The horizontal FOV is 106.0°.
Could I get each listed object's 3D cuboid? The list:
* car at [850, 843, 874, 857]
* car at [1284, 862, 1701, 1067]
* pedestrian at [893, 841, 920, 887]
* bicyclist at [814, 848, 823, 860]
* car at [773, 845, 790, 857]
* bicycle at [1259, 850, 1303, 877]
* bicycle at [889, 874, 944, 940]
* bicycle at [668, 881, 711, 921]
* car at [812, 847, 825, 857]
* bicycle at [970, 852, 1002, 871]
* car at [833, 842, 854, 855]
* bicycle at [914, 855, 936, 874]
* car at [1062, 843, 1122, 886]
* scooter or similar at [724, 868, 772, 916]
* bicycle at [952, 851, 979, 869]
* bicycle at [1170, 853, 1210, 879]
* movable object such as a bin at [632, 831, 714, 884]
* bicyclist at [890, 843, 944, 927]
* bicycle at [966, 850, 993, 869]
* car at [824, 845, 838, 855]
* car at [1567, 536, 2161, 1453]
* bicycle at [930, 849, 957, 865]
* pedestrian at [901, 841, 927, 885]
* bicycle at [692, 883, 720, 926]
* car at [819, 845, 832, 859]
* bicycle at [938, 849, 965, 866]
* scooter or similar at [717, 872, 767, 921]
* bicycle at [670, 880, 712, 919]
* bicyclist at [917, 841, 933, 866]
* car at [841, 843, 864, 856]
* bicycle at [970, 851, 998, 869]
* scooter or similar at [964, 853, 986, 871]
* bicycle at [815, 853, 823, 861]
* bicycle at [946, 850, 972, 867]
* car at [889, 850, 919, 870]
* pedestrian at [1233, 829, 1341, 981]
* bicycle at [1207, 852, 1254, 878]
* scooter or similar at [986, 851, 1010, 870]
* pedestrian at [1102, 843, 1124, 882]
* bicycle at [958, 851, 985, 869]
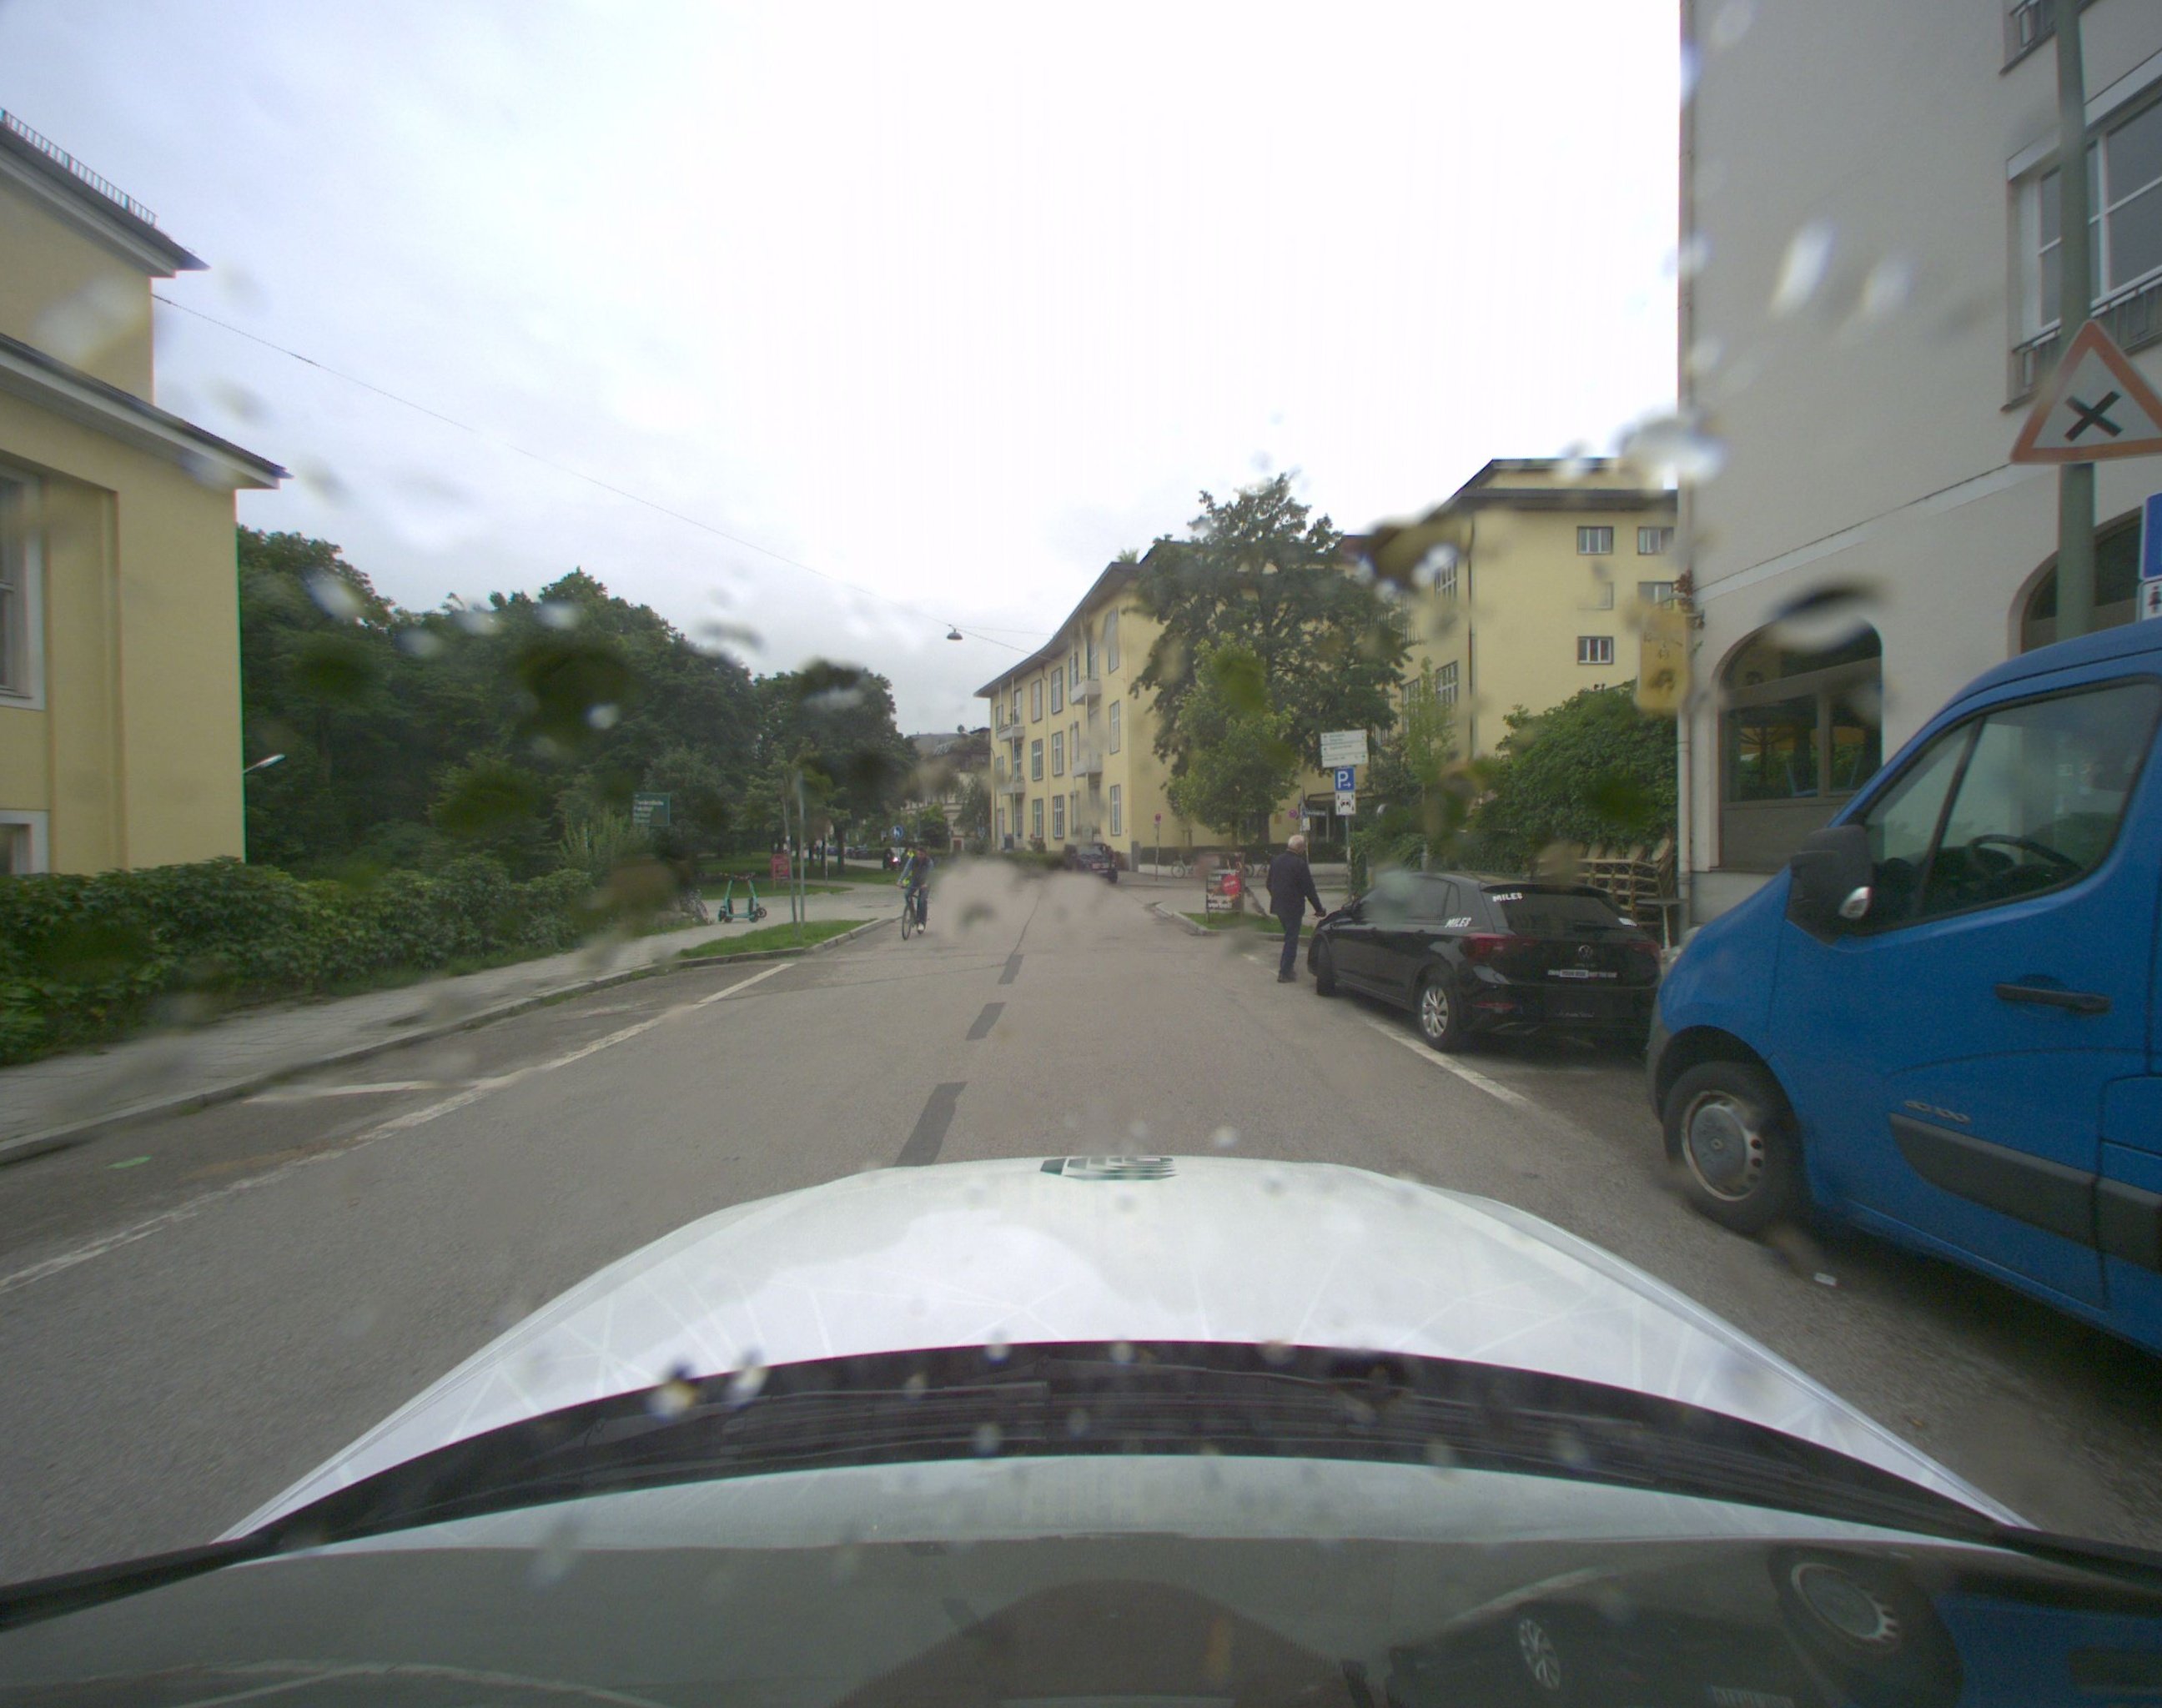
[{"bbox_3d":[-27.005,-0.449,100.497,2.005,1.606,3.964,-1,0,-28],"label":"car"},{"bbox_3d":[3.556,0.834,8.077,1.674,1.389,4.299,3,0,-4],"label":"car"},{"bbox_3d":[-7.899,0.448,36.919,0.927,2.013,0.957,-1,0,3],"label":"pedestrian"},{"bbox_3d":[-31.005,-0.019,96.153,0.799,1.470,0.886,-1,1,-26],"label":"bicyclist"},{"bbox_3d":[-44.653,-0.445,121.406,2.004,1.691,3.966,-2,1,-26],"label":"car"},{"bbox_3d":[9.260,0.441,37.811,1.914,1.201,0.596,-1,1,2],"label":"bicycle"},{"bbox_3d":[-3.219,1.004,16.095,0.668,1.158,2.003,-1,0,0],"label":"bicycle"},{"bbox_3d":[-10.159,1.208,21.114,1.563,0.990,0.303,-1,0,37],"label":"bicycle"},{"bbox_3d":[-46.179,-0.321,143.315,1.999,1.606,3.975,-1,0,-18],"label":"car"},{"bbox_3d":[-6.730,0.503,57.584,2.167,1.305,0.726,-1,1,-39],"label":"bicycle"},{"bbox_3d":[-32.177,-0.734,110.423,2.005,1.606,3.964,-1,0,-28],"label":"car"},{"bbox_3d":[-10.021,0.677,52.377,0.747,1.215,2.124,-2,0,-29],"label":"bicycle"},{"bbox_3d":[0.474,0.437,39.166,1.765,1.874,4.358,3,0,-14],"label":"car"},{"bbox_3d":[-8.626,0.970,21.130,0.341,1.188,1.126,0,1,37],"label":"scooter or similar"},{"bbox_3d":[-8.788,0.446,62.138,0.725,1.305,2.170,-1,1,34],"label":"bicycle"},{"bbox_3d":[5.282,0.569,39.531,1.904,1.201,0.599,0,1,44],"label":"bicycle"},{"bbox_3d":[-25.485,0.179,50.978,1.974,3.213,4.026,-2,0,33],"label":"movable object such as a bin"},{"bbox_3d":[-3.238,0.592,16.172,0.860,1.607,0.946,-1,0,-1],"label":"bicyclist"},{"bbox_3d":[-7.508,0.409,60.526,0.725,1.305,2.170,-1,1,34],"label":"bicycle"},{"bbox_3d":[-38.207,-0.600,124.349,1.999,1.606,3.975,-1,0,-18],"label":"car"},{"bbox_3d":[3.678,0.373,1.846,2.071,2.234,5.246,3,-1,2],"label":"car"},{"bbox_3d":[-11.783,0.236,69.692,2.155,1.305,0.730,-1,0,-19],"label":"bicycle"},{"bbox_3d":[-7.837,0.406,38.187,0.927,2.013,0.957,-1,0,3],"label":"pedestrian"},{"bbox_3d":[-9.155,1.213,19.905,0.544,0.974,1.146,-1,0,-21],"label":"bicycle"},{"bbox_3d":[-41.667,-0.335,132.806,1.999,2.159,3.975,-1,0,-18],"label":"car"},{"bbox_3d":[-10.772,0.286,67.821,2.155,1.305,0.730,-1,0,-19],"label":"bicycle"},{"bbox_3d":[-8.476,1.053,20.345,1.109,1.188,0.346,-1,0,8],"label":"scooter or similar"},{"bbox_3d":[-10.379,1.202,21.675,1.563,0.990,0.303,-1,0,37],"label":"bicycle"},{"bbox_3d":[-10.043,-0.031,52.383,0.748,1.521,0.936,-2,0,-29],"label":"bicyclist"},{"bbox_3d":[-29.581,-0.591,105.462,2.005,1.606,3.964,-1,0,-28],"label":"car"},{"bbox_3d":[-7.086,0.421,59.683,0.725,1.305,2.170,-1,1,34],"label":"bicycle"},{"bbox_3d":[-7.927,0.592,60.897,0.725,1.305,1.741,-1,1,31],"label":"scooter or similar"},{"bbox_3d":[-30.946,0.370,96.142,0.642,0.967,1.979,-1,1,-25],"label":"bicycle"},{"bbox_3d":[-9.524,0.327,63.863,0.725,1.305,2.170,-1,1,34],"label":"bicycle"},{"bbox_3d":[-13.528,0.422,62.200,1.919,1.471,3.977,-1,1,-17],"label":"car"},{"bbox_3d":[2.609,0.590,10.321,0.961,1.800,0.924,-2,1,-39],"label":"pedestrian"},{"bbox_3d":[6.991,0.518,38.120,2.049,1.201,0.598,0,1,21],"label":"bicycle"},{"bbox_3d":[-5.763,0.430,56.698,0.726,1.305,2.168,-1,1,23],"label":"scooter or similar"},{"bbox_3d":[1.559,0.394,39.242,0.875,1.823,0.795,-1,1,-13],"label":"pedestrian"},{"bbox_3d":[-8.236,0.473,61.459,0.725,1.305,2.170,-1,1,34],"label":"bicycle"}]
